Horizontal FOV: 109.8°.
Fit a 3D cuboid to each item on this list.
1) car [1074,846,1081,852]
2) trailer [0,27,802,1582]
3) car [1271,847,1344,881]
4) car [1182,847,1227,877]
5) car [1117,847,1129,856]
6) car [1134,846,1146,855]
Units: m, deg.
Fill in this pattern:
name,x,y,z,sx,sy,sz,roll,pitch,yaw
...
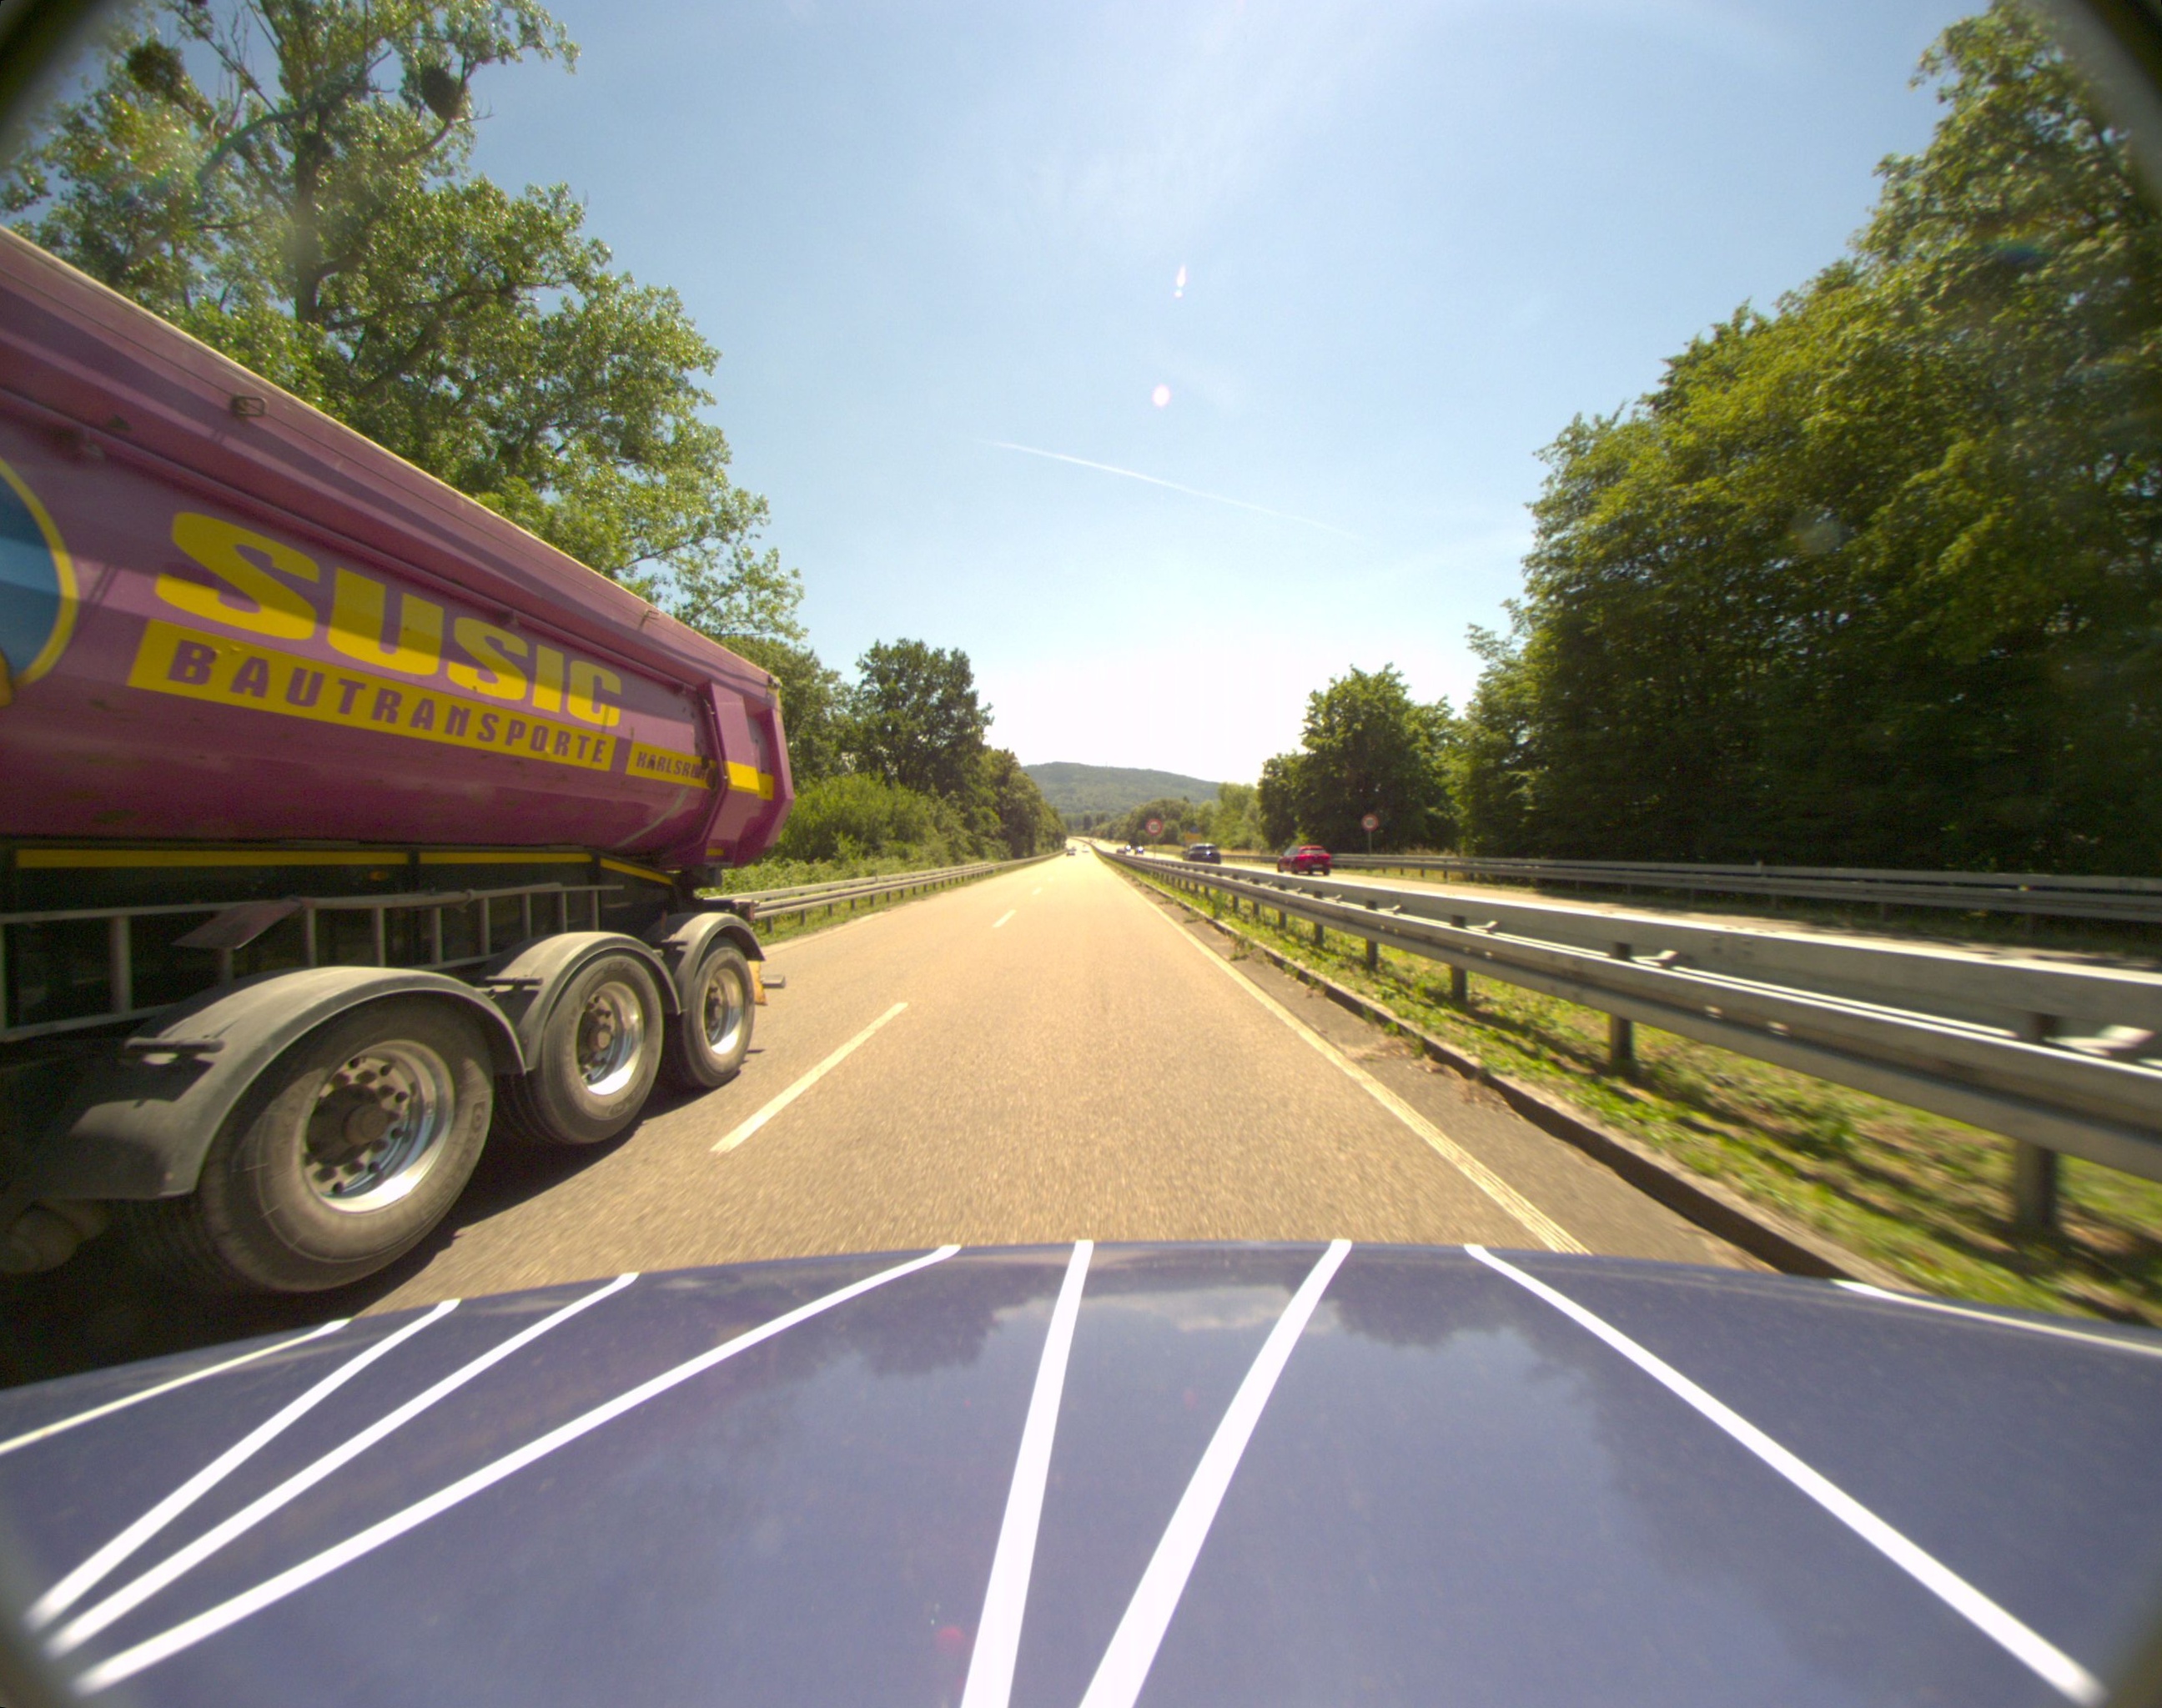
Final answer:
name,x,y,z,sx,sy,sz,roll,pitch,yaw
car,-1.236,-1.711,250.275,1.998,2.002,4.000,-1,1,3
trailer,-3.802,-0.122,2.184,2.605,3.609,8.611,-3,1,0
car,11.107,0.432,37.708,1.998,1.485,5.443,-2,1,1
car,7.387,0.427,45.924,1.998,1.652,4.388,-2,1,1
car,8.186,-0.468,147.792,1.998,1.652,4.389,-1,1,1
car,12.143,-0.726,155.855,1.998,1.653,4.387,-1,3,0
